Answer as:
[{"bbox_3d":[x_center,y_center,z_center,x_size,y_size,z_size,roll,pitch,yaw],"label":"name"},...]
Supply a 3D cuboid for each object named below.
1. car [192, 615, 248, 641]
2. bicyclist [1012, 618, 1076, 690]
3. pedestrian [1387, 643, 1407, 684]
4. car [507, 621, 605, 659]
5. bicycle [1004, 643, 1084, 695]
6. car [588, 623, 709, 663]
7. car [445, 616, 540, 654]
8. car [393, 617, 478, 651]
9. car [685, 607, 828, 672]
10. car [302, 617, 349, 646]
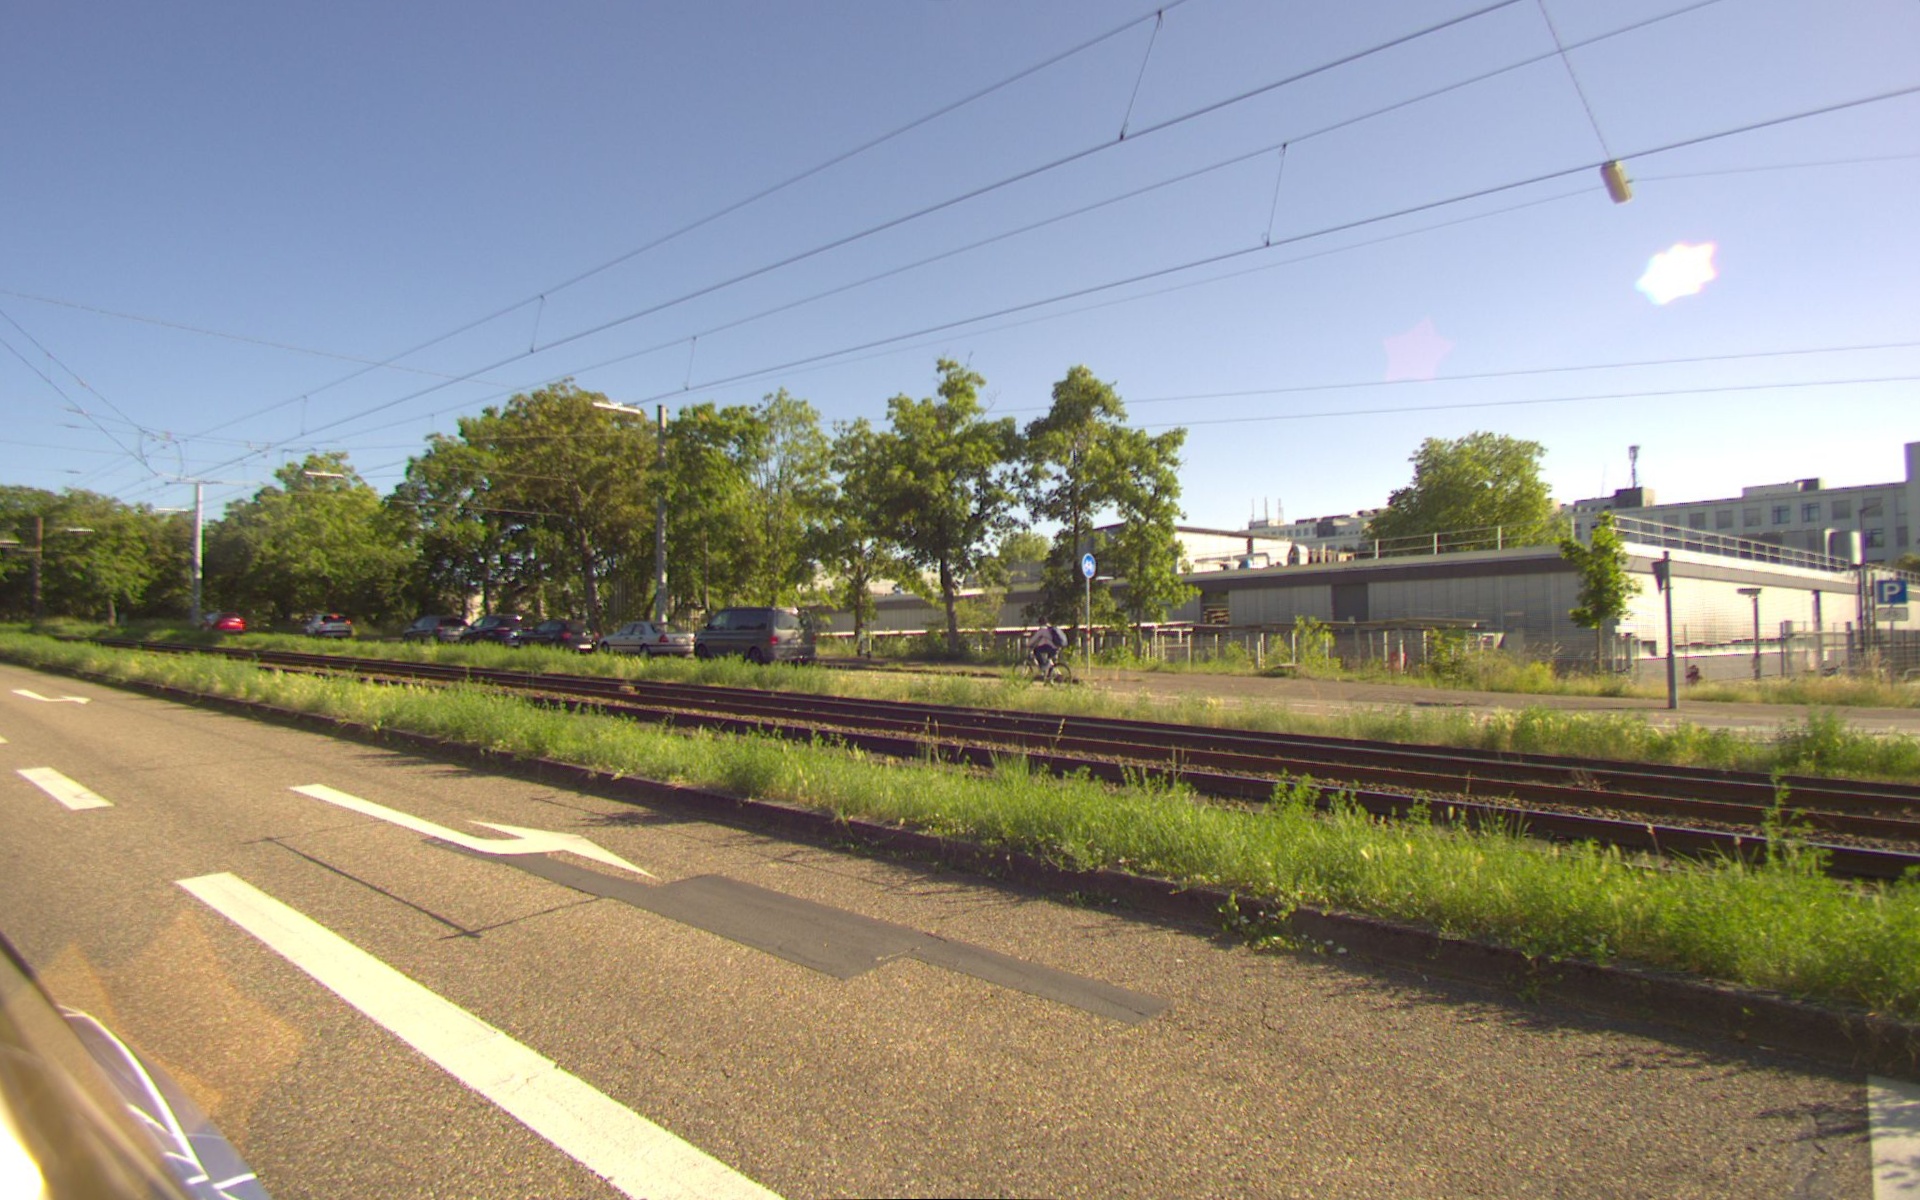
[{"bbox_3d":[-51.823,1.925,70.863,4.797,1.747,2.290,-2,-2,43],"label":"car"},{"bbox_3d":[1.923,1.227,23.266,1.236,1.605,0.794,-1,-2,42],"label":"bicyclist"},{"bbox_3d":[14.297,2.068,33.118,0.435,1.310,0.441,0,-2,-1],"label":"pedestrian"},{"bbox_3d":[-16.501,1.604,41.229,4.486,1.437,1.935,-1,-2,41],"label":"car"},{"bbox_3d":[1.909,1.570,23.277,1.780,1.110,0.689,-1,-2,42],"label":"bicycle"},{"bbox_3d":[-11.509,1.540,37.239,4.611,1.391,2.103,-1,-2,39],"label":"car"},{"bbox_3d":[-20.706,1.531,44.767,4.614,1.599,2.102,-1,-2,41],"label":"car"},{"bbox_3d":[-25.552,1.617,49.226,4.557,1.576,2.103,-1,-2,40],"label":"car"},{"bbox_3d":[-6.626,1.235,32.674,4.684,1.949,2.178,-1,-2,42],"label":"car"},{"bbox_3d":[-36.377,1.791,58.001,1.831,1.570,4.164,1,-1,-39],"label":"car"}]
